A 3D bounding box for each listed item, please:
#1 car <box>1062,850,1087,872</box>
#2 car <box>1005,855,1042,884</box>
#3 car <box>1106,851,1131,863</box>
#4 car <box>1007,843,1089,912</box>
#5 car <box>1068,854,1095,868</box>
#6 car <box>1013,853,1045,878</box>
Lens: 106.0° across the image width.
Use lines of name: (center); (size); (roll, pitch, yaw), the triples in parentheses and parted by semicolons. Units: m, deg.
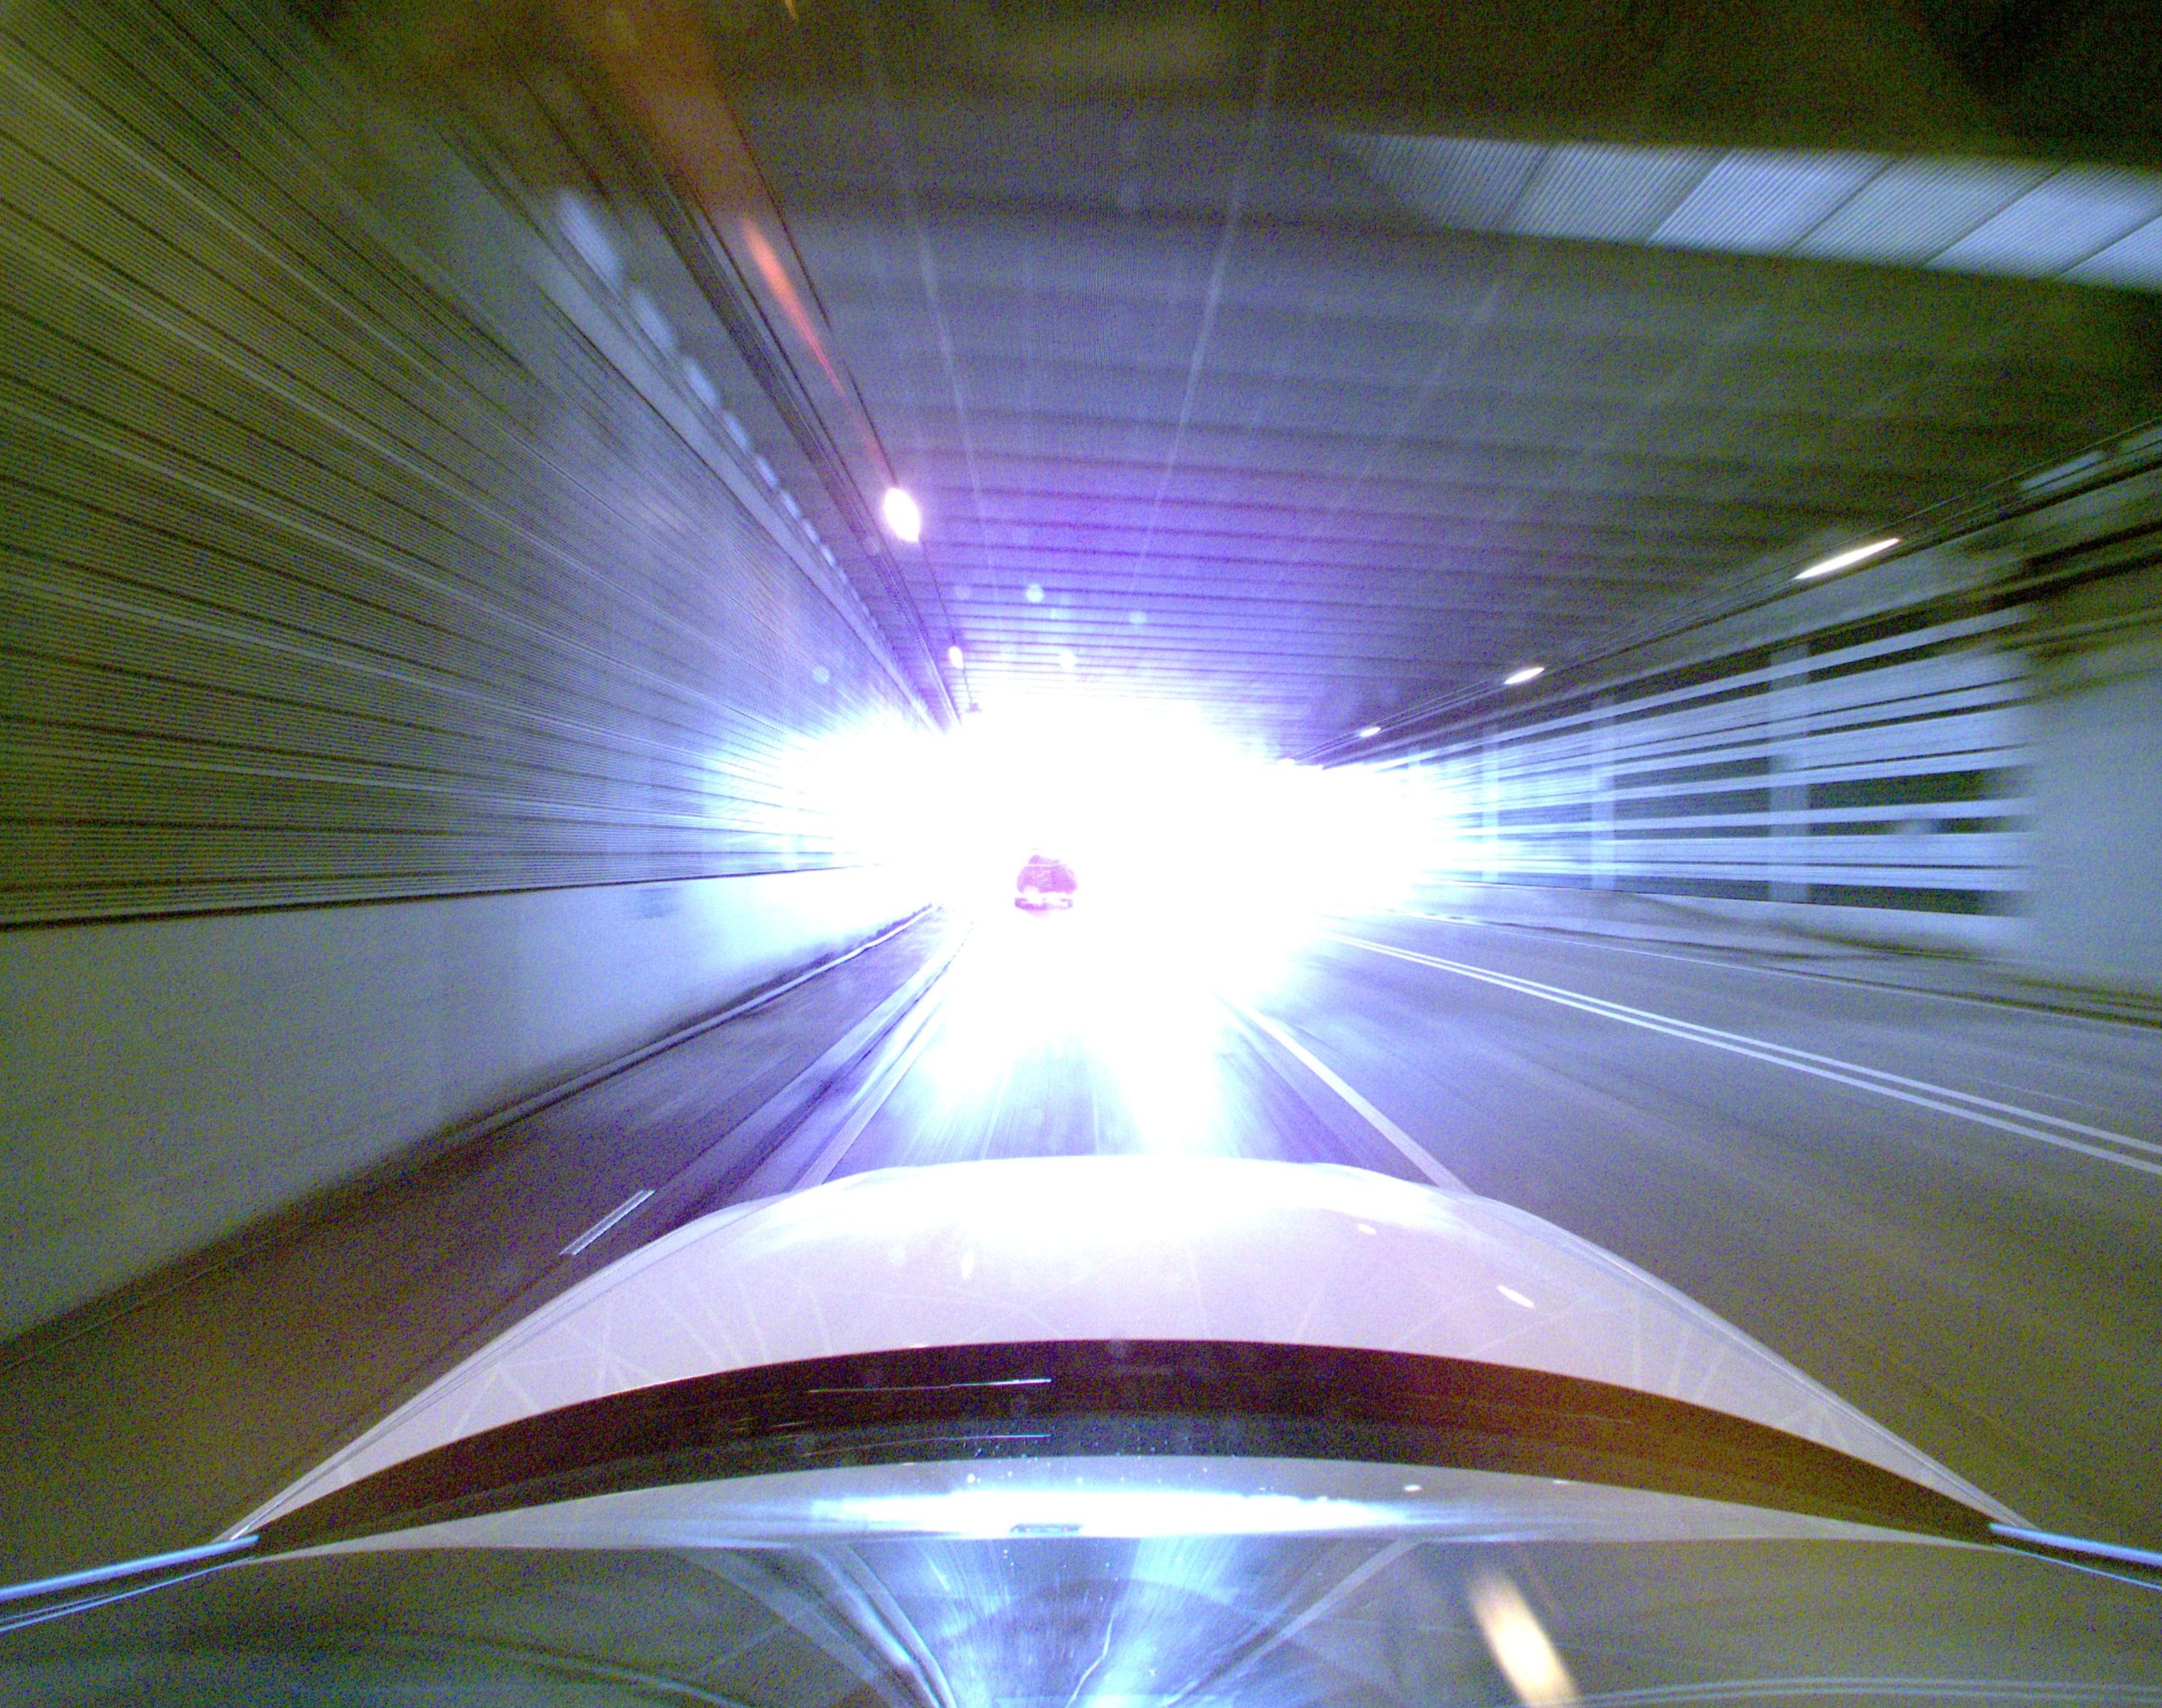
car: (-0.598, 0.600, 74.050); (1.990, 1.860, 3.994); (1, 0, -4)
car: (-3.025, 0.772, 42.360); (1.812, 1.434, 4.058); (0, 0, -5)
car: (4.993, 0.412, 108.083); (1.975, 1.469, 4.023); (-1, 0, 25)
car: (-1.170, 0.653, 25.396); (1.992, 1.859, 5.625); (-1, 0, -8)
car: (0.094, 0.764, 90.680); (1.998, 1.488, 4.081); (1, 1, 14)
car: (-3.394, 0.750, 53.918); (1.915, 1.488, 4.063); (1, 1, -1)
